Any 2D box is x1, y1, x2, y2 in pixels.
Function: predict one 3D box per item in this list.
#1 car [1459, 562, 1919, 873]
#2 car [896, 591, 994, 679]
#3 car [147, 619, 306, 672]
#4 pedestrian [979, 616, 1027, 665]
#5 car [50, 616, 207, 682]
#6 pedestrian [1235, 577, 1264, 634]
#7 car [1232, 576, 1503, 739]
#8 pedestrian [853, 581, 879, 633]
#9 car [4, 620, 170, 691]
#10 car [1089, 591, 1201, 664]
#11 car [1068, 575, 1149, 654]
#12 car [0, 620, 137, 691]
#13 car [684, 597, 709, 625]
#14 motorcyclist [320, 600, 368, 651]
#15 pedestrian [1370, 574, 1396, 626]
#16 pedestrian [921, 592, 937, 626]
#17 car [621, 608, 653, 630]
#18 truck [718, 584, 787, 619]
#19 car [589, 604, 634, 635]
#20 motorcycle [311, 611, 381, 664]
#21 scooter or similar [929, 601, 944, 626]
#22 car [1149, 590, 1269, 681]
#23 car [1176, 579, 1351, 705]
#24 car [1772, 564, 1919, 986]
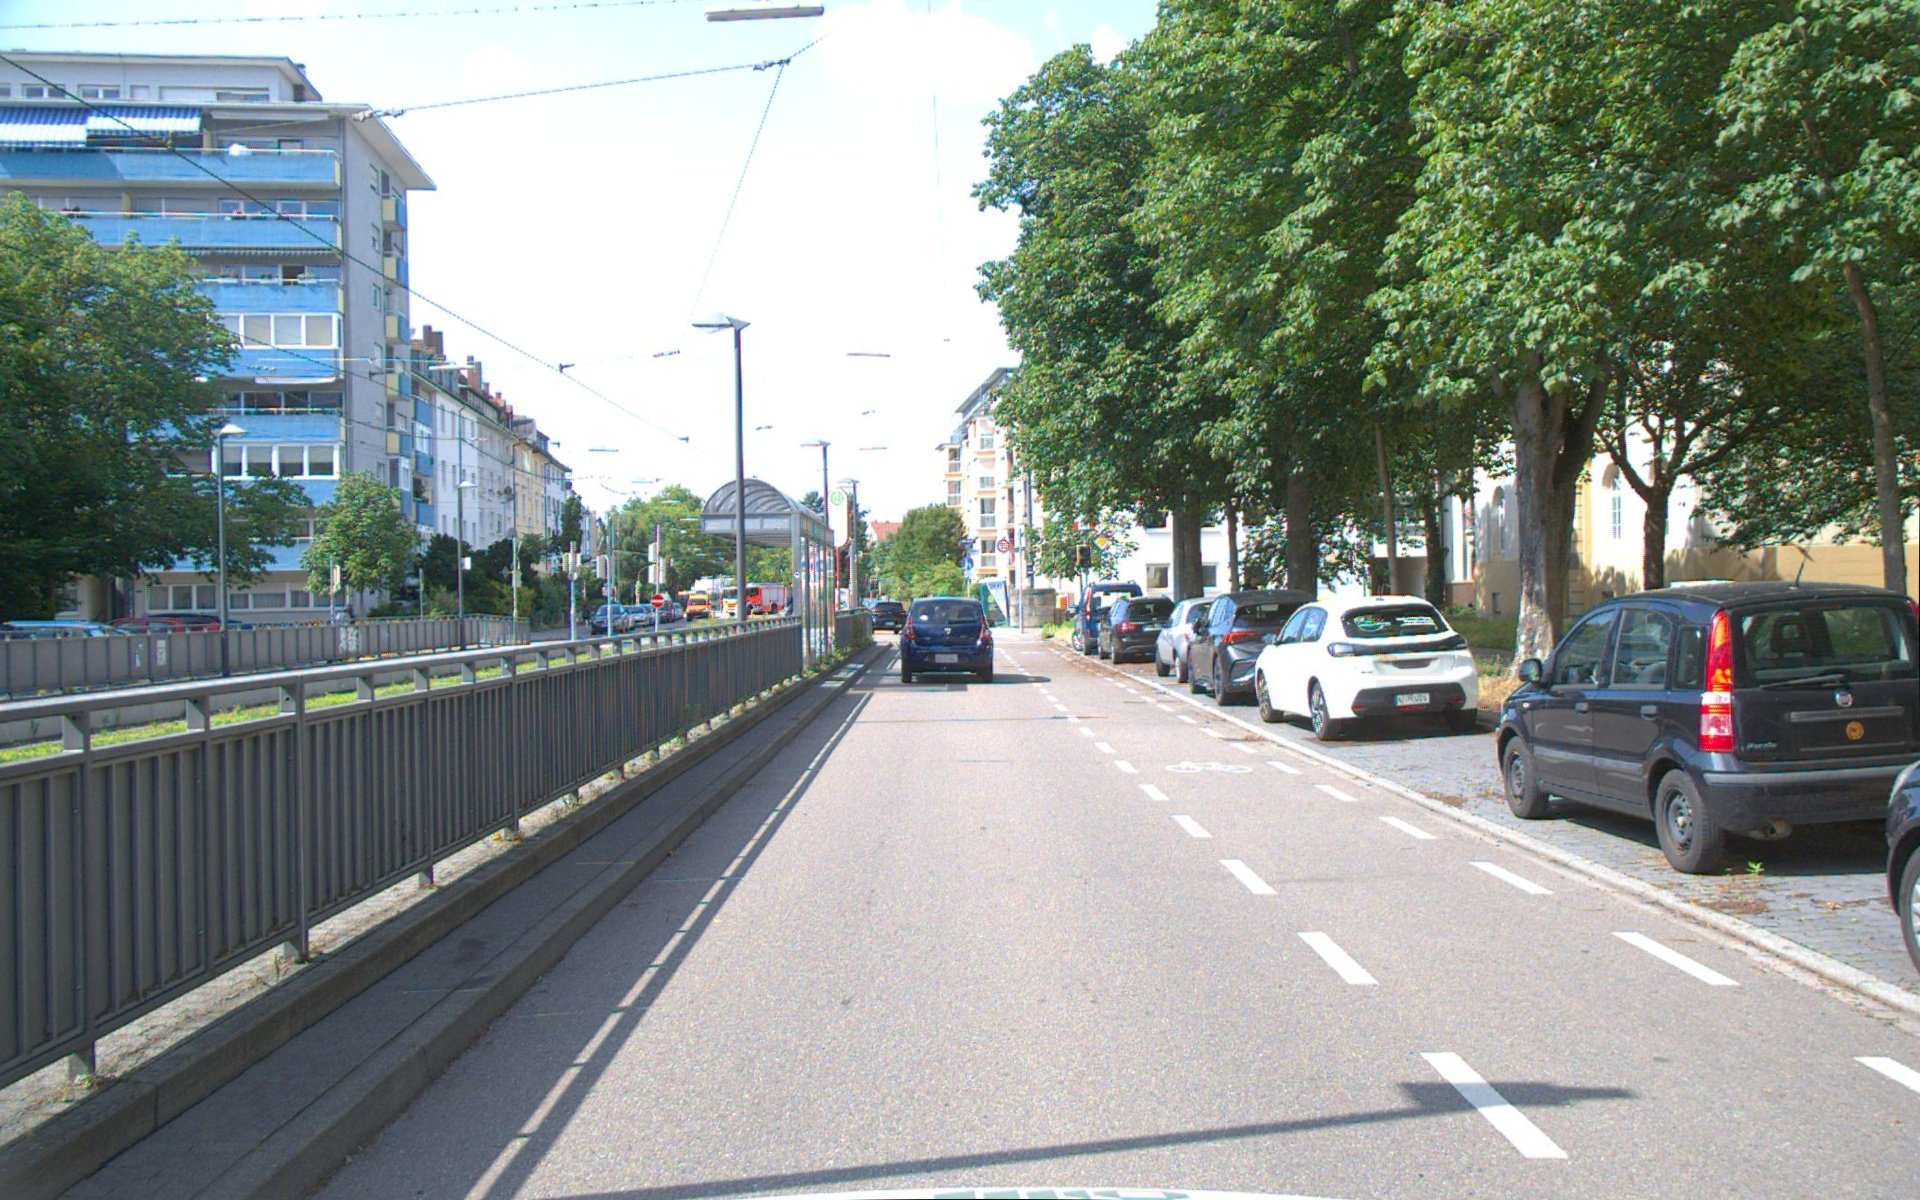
[{"bbox_3d":[4.547,0.613,10.305,1.525,1.486,3.556,-5,-1,-3],"label":"car"},{"bbox_3d":[-0.302,0.630,30.942,1.708,1.533,3.999,0,-1,-1],"label":"car"},{"bbox_3d":[-22.088,1.341,49.877,4.095,1.418,1.586,-2,0,-40],"label":"car"},{"bbox_3d":[1.825,1.703,71.206,1.953,2.049,3.999,0,-1,0],"label":"pedestrian"},{"bbox_3d":[-22.219,1.282,44.220,3.619,1.607,1.631,-1,0,-32],"label":"car"},{"bbox_3d":[9.039,0.169,51.645,0.729,1.726,0.767,-2,0,0],"label":"pedestrian"},{"bbox_3d":[4.524,0.585,19.044,1.799,1.550,4.250,-4,0,-3],"label":"car"},{"bbox_3d":[-3.146,0.239,55.385,0.828,1.697,0.798,-2,-1,-4],"label":"pedestrian"},{"bbox_3d":[-22.019,1.371,41.742,3.619,1.607,1.631,-1,0,-32],"label":"car"},{"bbox_3d":[4.292,0.593,39.053,1.879,1.467,4.795,-4,1,-2],"label":"car"},{"bbox_3d":[3.935,0.344,44.405,1.785,1.929,4.184,-3,1,1],"label":"car"},{"bbox_3d":[-21.748,1.306,39.143,3.974,1.540,1.593,-2,0,-31],"label":"car"},{"bbox_3d":[-22.495,0.917,141.022,1.958,2.315,4.821,2,0,-10],"label":"car"},{"bbox_3d":[-17.181,0.698,46.169,0.919,1.362,0.986,-2,0,0],"label":"motorcyclist"},{"bbox_3d":[13.401,-0.002,52.427,0.619,1.624,0.539,-2,-1,-4],"label":"pedestrian"},{"bbox_3d":[-1.724,0.494,91.000,0.688,1.820,1.029,-4,0,-6],"label":"pedestrian"},{"bbox_3d":[-21.387,1.248,109.528,1.734,1.467,3.994,0,-1,-6],"label":"car"},{"bbox_3d":[-21.188,0.090,169.251,2.546,3.241,8.372,-3,0,28],"label":"truck"},{"bbox_3d":[-19.716,1.106,93.623,1.954,1.674,3.996,0,-1,-5],"label":"car"},{"bbox_3d":[-17.129,1.030,46.224,0.994,1.362,2.517,-2,0,0],"label":"motorcycle"},{"bbox_3d":[-1.273,0.725,90.146,0.649,1.326,0.867,-4,0,-6],"label":"scooter or similar"},{"bbox_3d":[4.462,0.611,30.054,1.558,1.470,3.597,-3,0,0],"label":"car"},{"bbox_3d":[4.400,0.556,24.641,1.690,1.611,4.677,-2,0,0],"label":"car"},{"bbox_3d":[4.464,0.623,5.107,1.657,1.588,4.307,-4,0,-1],"label":"car"}]
